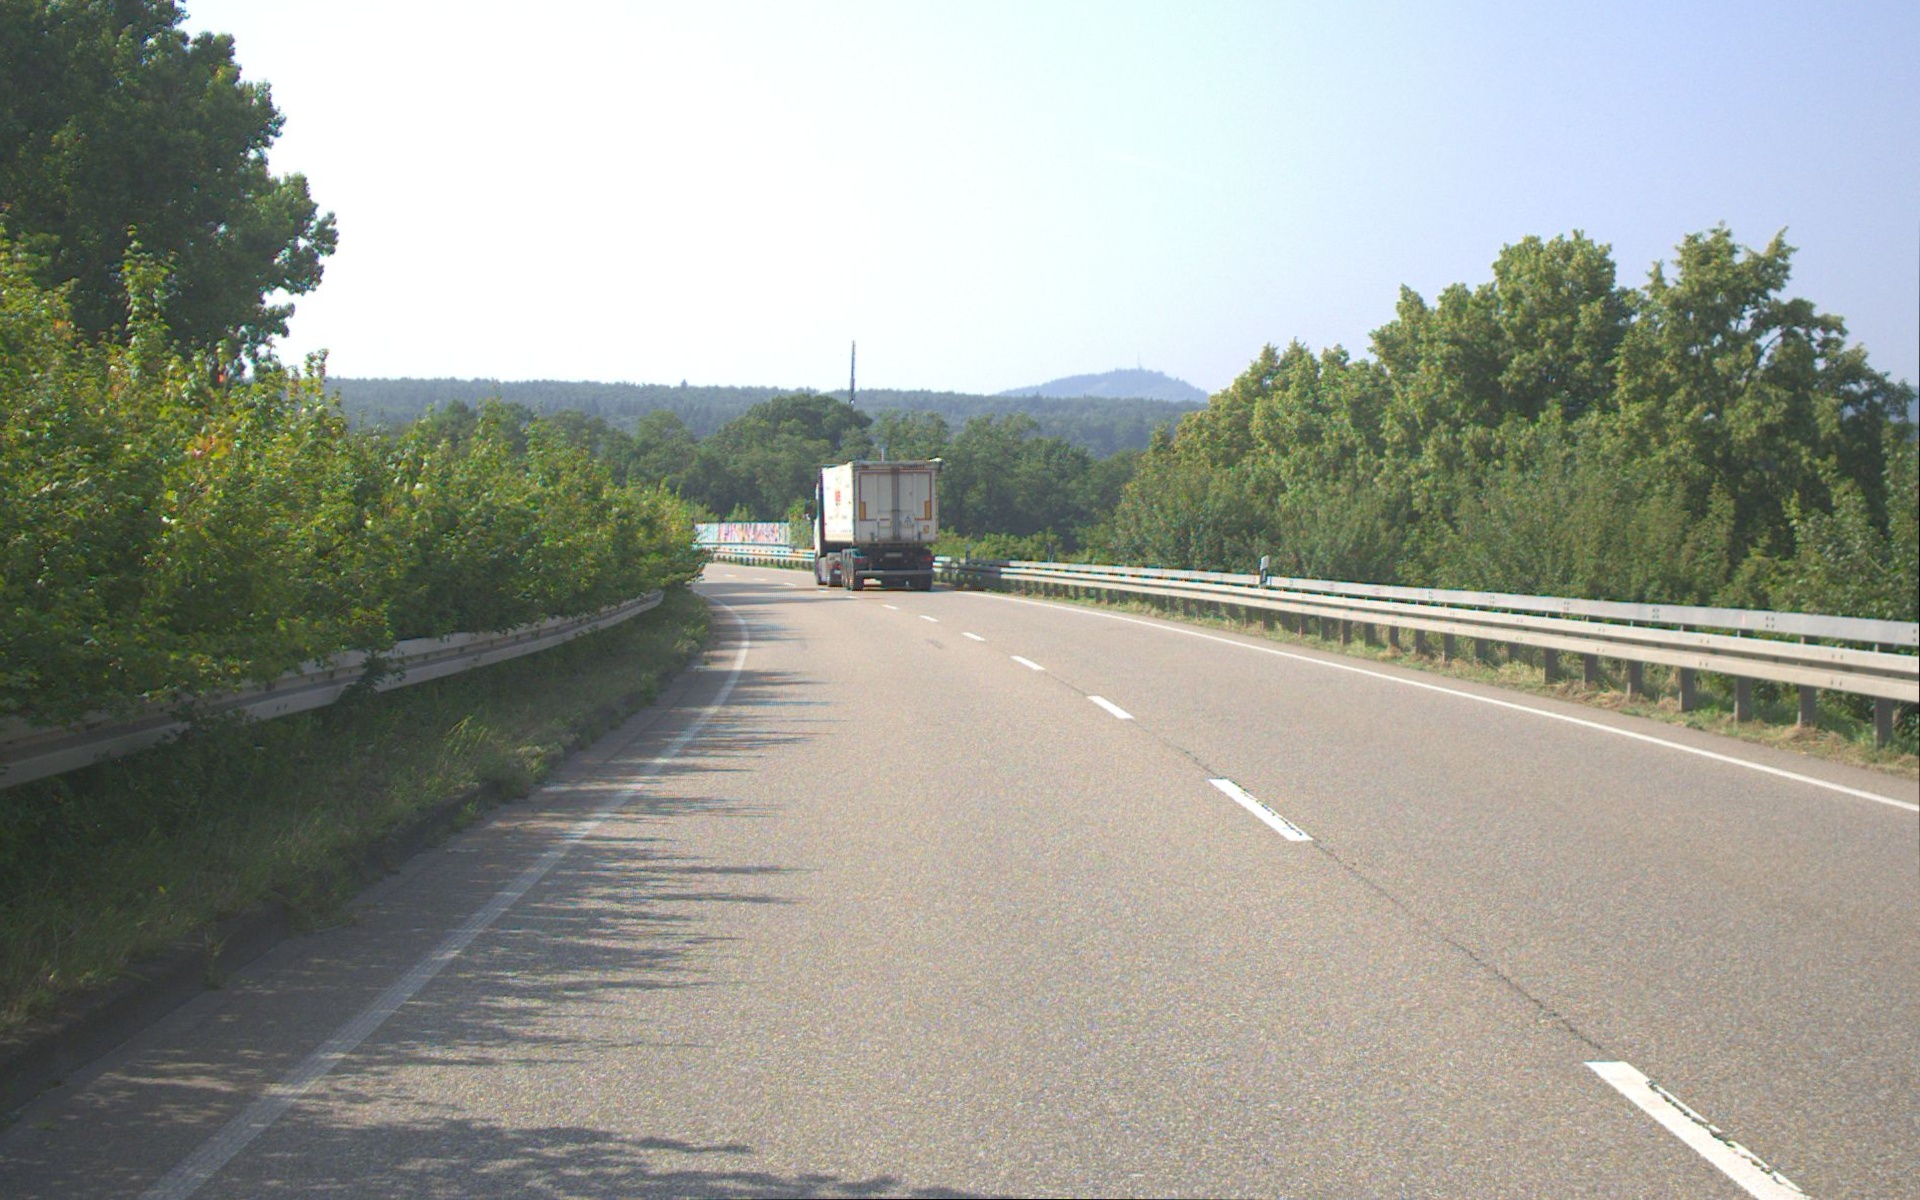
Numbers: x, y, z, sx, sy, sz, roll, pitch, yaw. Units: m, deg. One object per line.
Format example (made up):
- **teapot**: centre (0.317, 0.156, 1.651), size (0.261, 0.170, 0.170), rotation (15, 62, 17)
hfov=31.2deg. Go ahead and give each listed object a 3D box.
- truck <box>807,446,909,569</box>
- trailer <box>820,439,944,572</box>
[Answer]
- **truck**: centre (-3.357, -3.008, 111.725), size (2.658, 3.882, 5.649), rotation (0, 1, -8)
- **trailer**: centre (-2.477, -2.871, 105.670), size (2.679, 3.893, 9.675), rotation (0, 1, -8)
